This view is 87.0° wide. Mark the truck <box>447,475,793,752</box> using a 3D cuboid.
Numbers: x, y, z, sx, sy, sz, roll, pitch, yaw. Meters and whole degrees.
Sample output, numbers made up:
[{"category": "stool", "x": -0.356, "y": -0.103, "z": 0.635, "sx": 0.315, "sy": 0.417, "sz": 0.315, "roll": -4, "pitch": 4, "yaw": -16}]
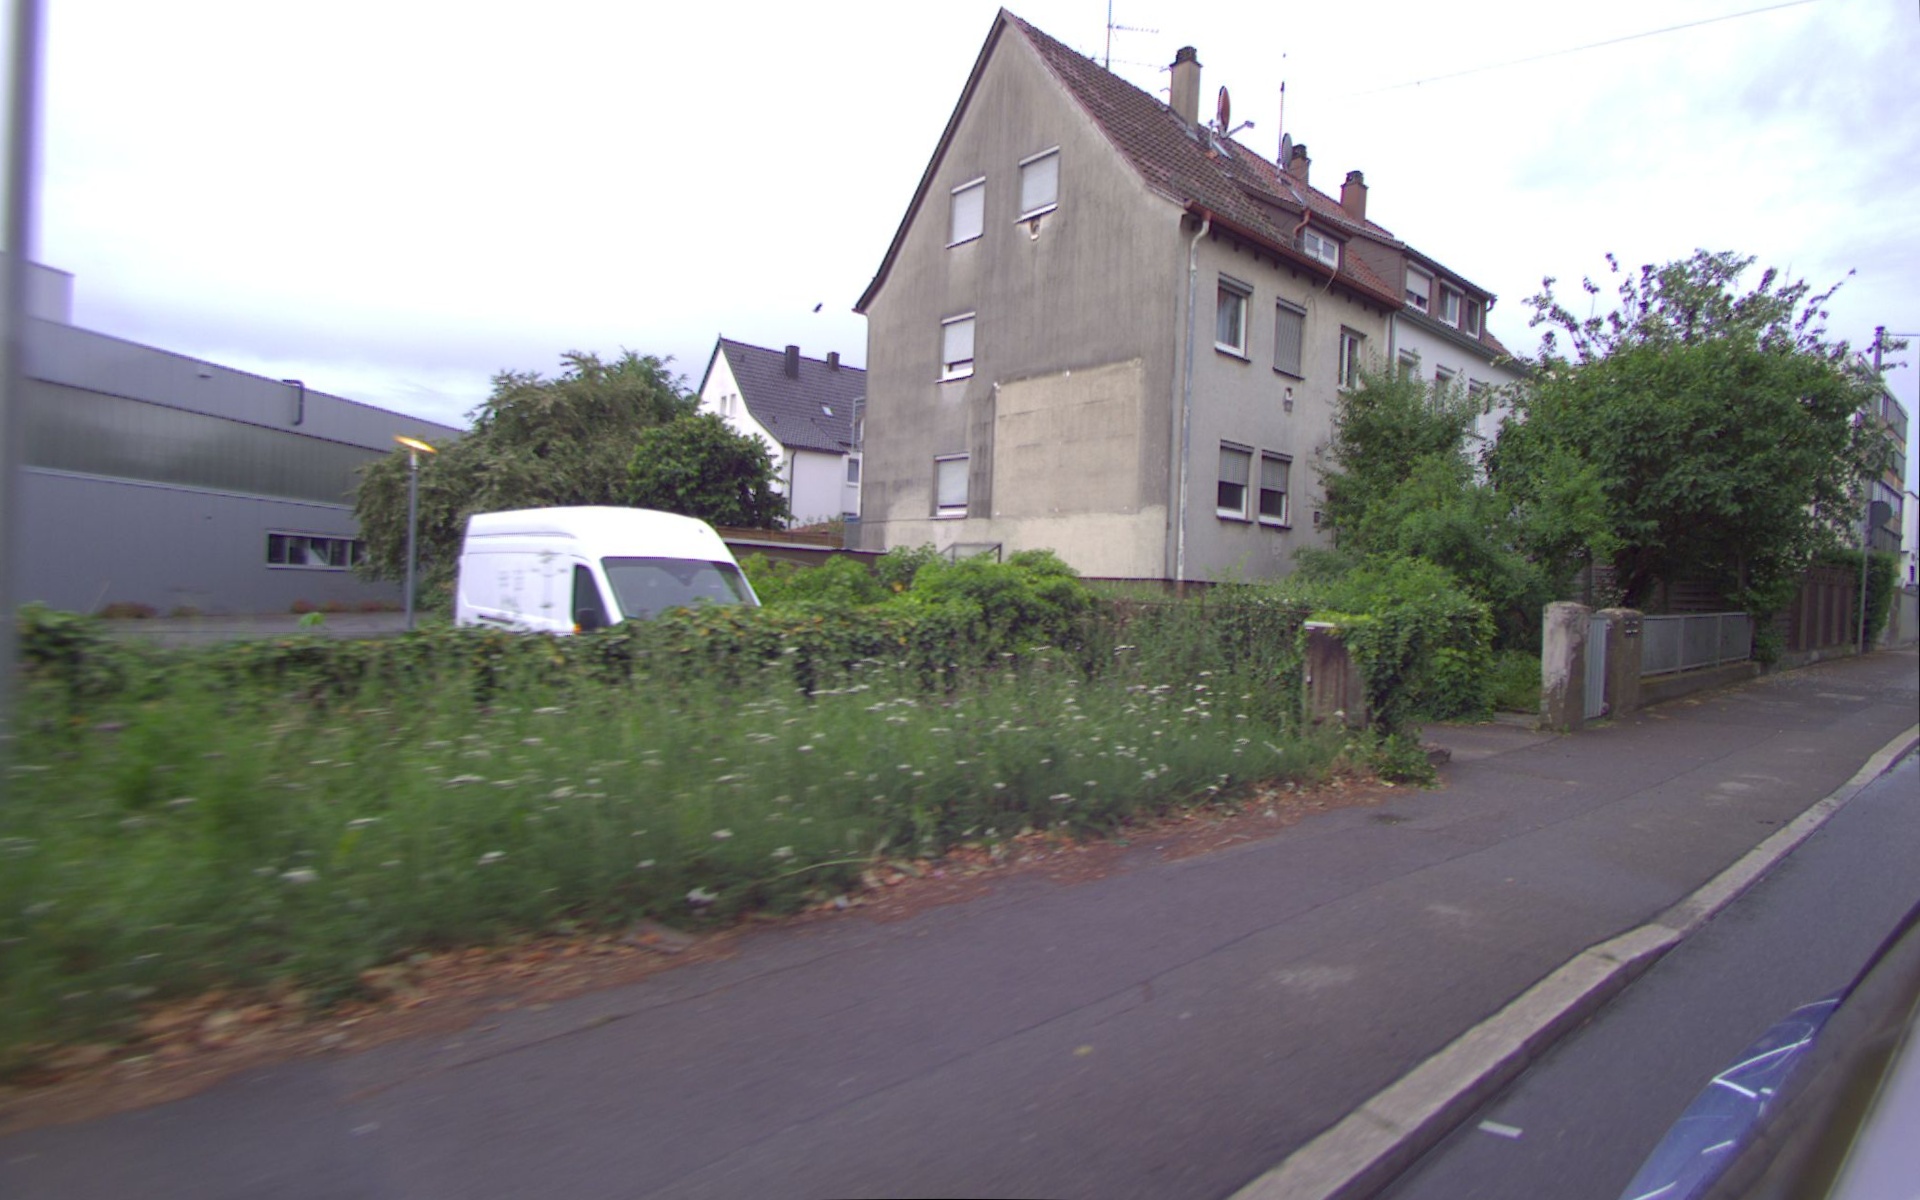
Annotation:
[{"category": "truck", "x": -4.509, "y": 0.118, "z": 12.628, "sx": 2.008, "sy": 2.671, "sz": 5.853, "roll": -1, "pitch": 0, "yaw": -41}]
